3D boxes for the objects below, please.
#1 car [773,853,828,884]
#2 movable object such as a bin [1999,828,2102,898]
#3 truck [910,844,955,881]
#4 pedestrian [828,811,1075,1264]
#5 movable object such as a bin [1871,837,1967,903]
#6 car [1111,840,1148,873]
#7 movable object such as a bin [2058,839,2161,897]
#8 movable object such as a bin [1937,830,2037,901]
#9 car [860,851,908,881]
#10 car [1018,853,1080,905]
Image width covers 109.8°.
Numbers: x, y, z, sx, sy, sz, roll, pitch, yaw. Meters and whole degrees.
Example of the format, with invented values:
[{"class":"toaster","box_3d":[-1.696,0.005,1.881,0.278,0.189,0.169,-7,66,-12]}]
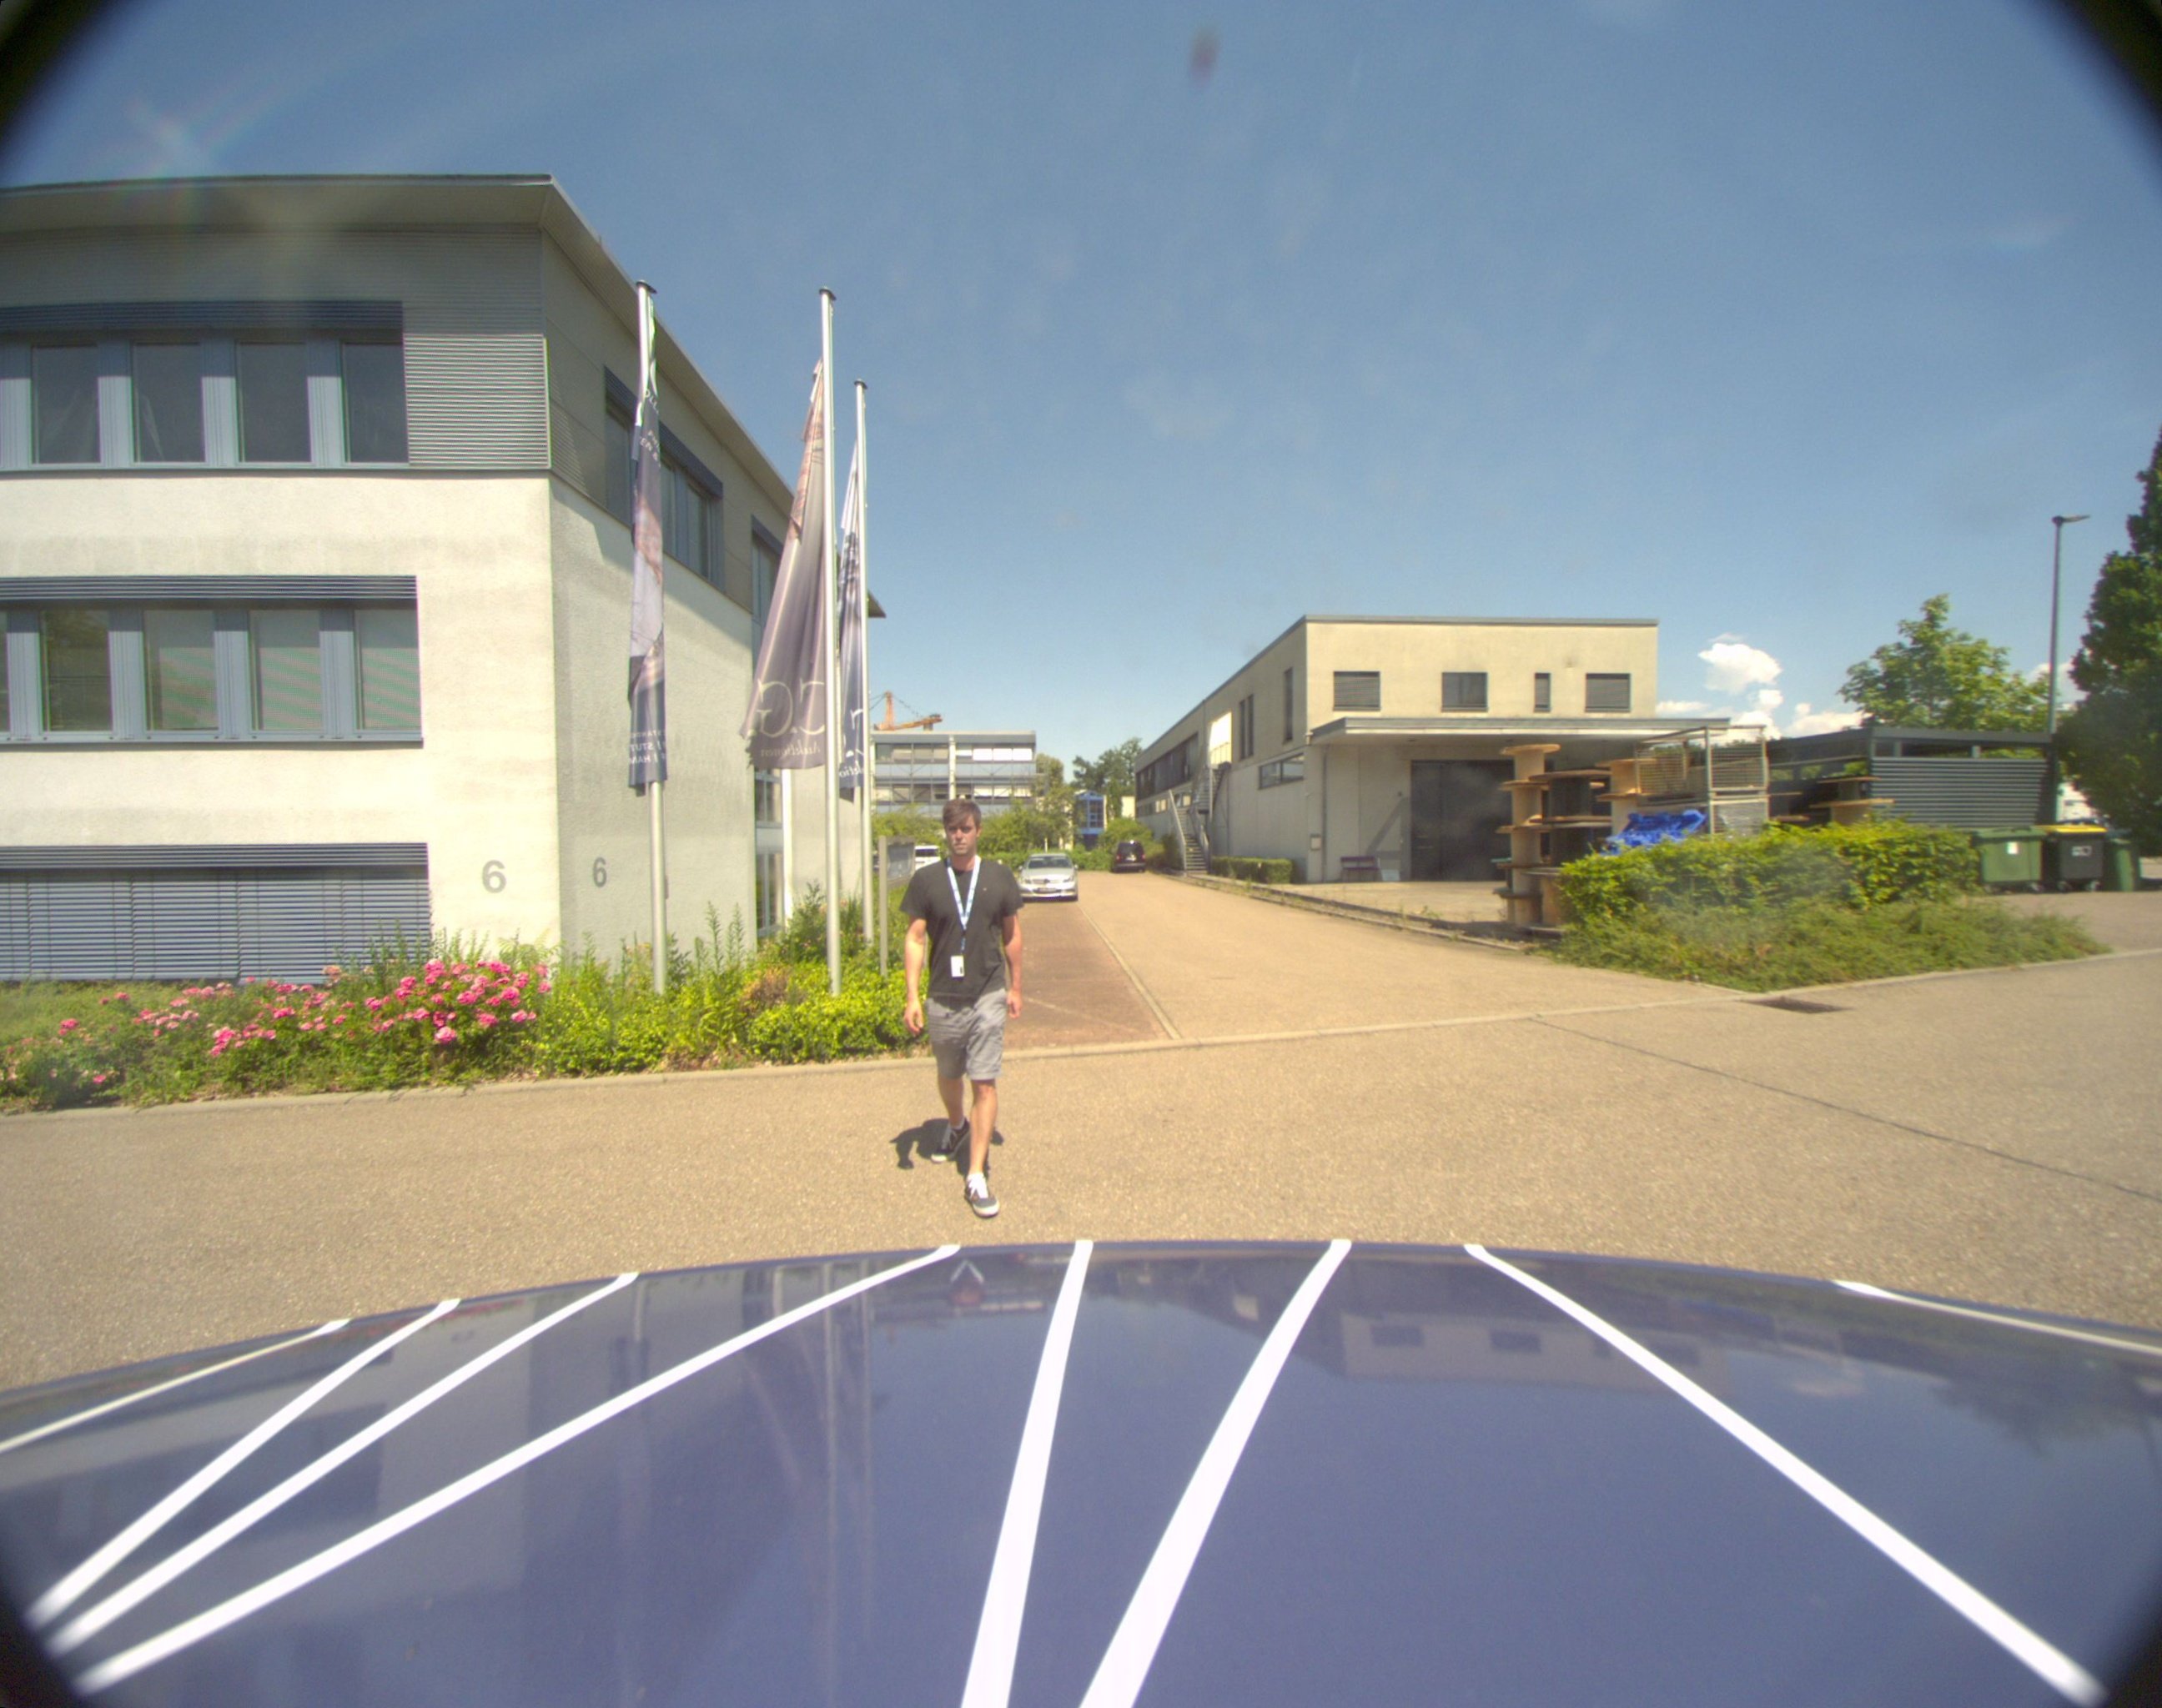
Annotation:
[{"class":"car","box_3d":[-15.836,0.802,43.103,1.788,1.537,3.998,-2,1,-3]},{"class":"movable object such as a bin","box_3d":[19.251,0.172,15.112,1.072,1.329,0.760,-2,1,1]},{"class":"truck","box_3d":[-8.298,0.436,42.799,1.999,1.883,3.997,-2,1,-5]},{"class":"pedestrian","box_3d":[-0.524,0.742,3.502,0.859,1.809,0.905,-2,1,4]},{"class":"movable object such as a bin","box_3d":[16.702,0.310,15.168,1.072,1.264,0.760,-2,1,1]},{"class":"car","box_3d":[2.780,0.103,44.326,1.787,1.793,3.998,-2,1,-1]},{"class":"movable object such as a bin","box_3d":[20.360,0.261,15.059,0.987,1.078,0.760,-2,1,1]},{"class":"movable object such as a bin","box_3d":[17.901,0.211,15.033,1.072,1.329,0.760,-2,1,1]},{"class":"car","box_3d":[-11.168,0.641,43.311,1.788,1.537,3.998,-2,1,-3]},{"class":"car","box_3d":[-0.924,0.720,23.558,1.711,1.383,3.810,-1,1,0]}]
